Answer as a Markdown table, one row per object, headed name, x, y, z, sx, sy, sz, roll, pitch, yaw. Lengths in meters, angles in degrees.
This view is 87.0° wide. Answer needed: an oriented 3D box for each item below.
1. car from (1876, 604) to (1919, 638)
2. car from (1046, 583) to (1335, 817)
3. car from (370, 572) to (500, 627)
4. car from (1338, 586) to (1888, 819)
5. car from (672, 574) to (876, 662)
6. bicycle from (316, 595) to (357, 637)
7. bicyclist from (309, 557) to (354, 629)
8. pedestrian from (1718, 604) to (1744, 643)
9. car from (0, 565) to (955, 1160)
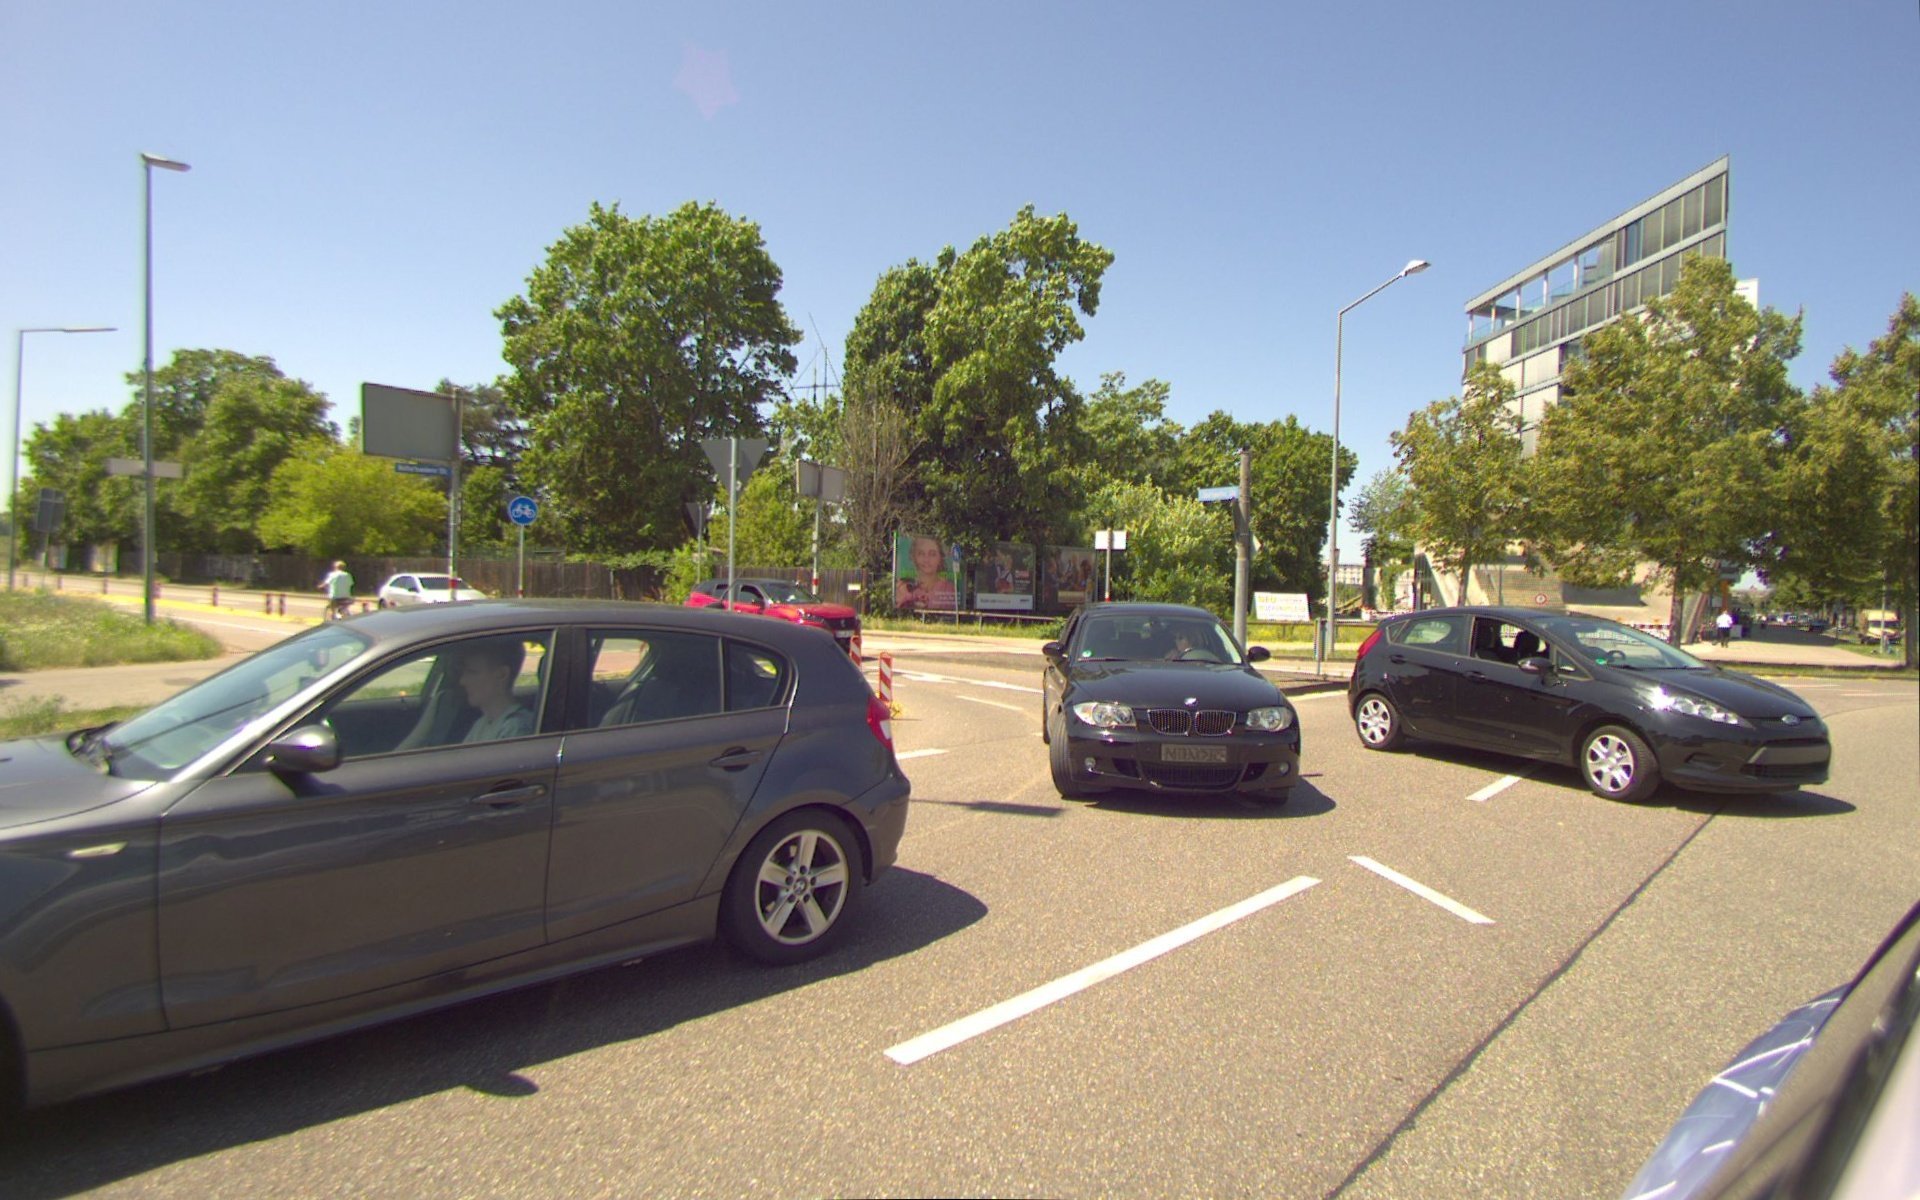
| name | x | y | z | sx | sy | sz | roll | pitch | yaw |
| --- | --- | --- | --- | --- | --- | --- | --- | --- | --- |
| car | 73.040 | 1.593 | 78.785 | 1.987 | 2.540 | 3.950 | 2 | 0 | 35 |
| car | 1.630 | 0.611 | 8.468 | 1.771 | 1.458 | 3.995 | 1 | 1 | 5 |
| car | -15.203 | -0.067 | 29.258 | 3.978 | 1.446 | 1.839 | 2 | 2 | 37 |
| car | 5.276 | 0.676 | 8.828 | 1.599 | 1.527 | 3.827 | 2 | 1 | -19 |
| car | -3.797 | 0.285 | 20.351 | 4.189 | 1.546 | 1.698 | 2 | 2 | 38 |
| bicycle | -14.756 | 0.356 | 23.981 | 0.616 | 0.890 | 1.880 | 1 | 2 | -25 |
| bicyclist | -14.881 | -0.176 | 23.991 | 0.733 | 1.661 | 1.165 | 2 | 0 | -25 |
| pedestrian | 38.369 | 1.145 | 50.351 | 0.600 | 1.892 | 0.834 | 0 | 2 | -38 |
| car | -2.109 | 0.626 | 3.735 | 4.009 | 1.421 | 1.751 | 1 | 0 | -41 |
